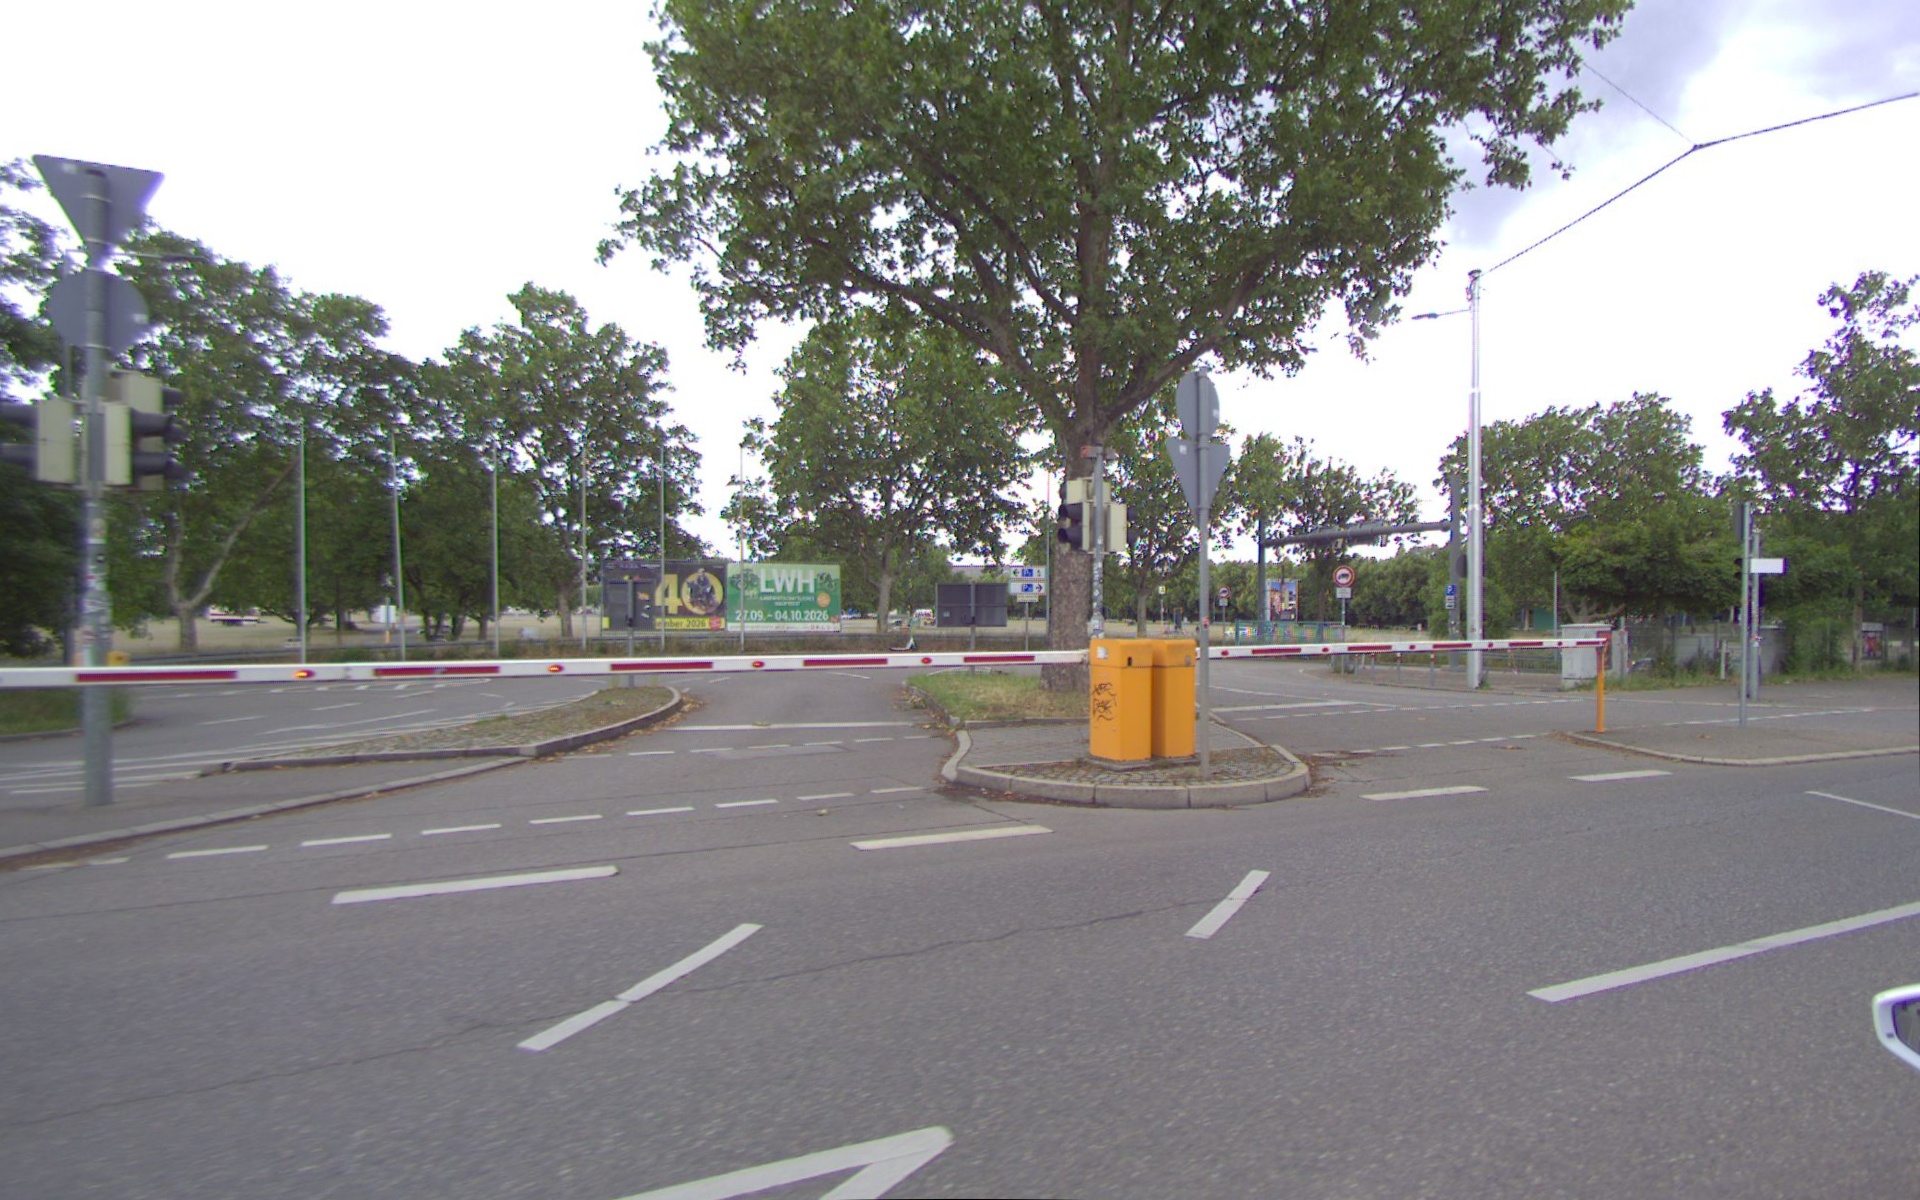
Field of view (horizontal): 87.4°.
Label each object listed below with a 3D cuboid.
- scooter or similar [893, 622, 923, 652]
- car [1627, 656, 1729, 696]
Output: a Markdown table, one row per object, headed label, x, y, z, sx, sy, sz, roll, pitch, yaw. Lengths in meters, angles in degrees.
| label | x | y | z | sx | sy | sz | roll | pitch | yaw |
| --- | --- | --- | --- | --- | --- | --- | --- | --- | --- |
| scooter or similar | -2.234 | 1.582 | 43.129 | 1.201 | 1.237 | 0.414 | 1 | 0 | -19 |
| car | 37.110 | 3.924 | 51.950 | 4.518 | 1.860 | 1.880 | 2 | 1 | -17 |
